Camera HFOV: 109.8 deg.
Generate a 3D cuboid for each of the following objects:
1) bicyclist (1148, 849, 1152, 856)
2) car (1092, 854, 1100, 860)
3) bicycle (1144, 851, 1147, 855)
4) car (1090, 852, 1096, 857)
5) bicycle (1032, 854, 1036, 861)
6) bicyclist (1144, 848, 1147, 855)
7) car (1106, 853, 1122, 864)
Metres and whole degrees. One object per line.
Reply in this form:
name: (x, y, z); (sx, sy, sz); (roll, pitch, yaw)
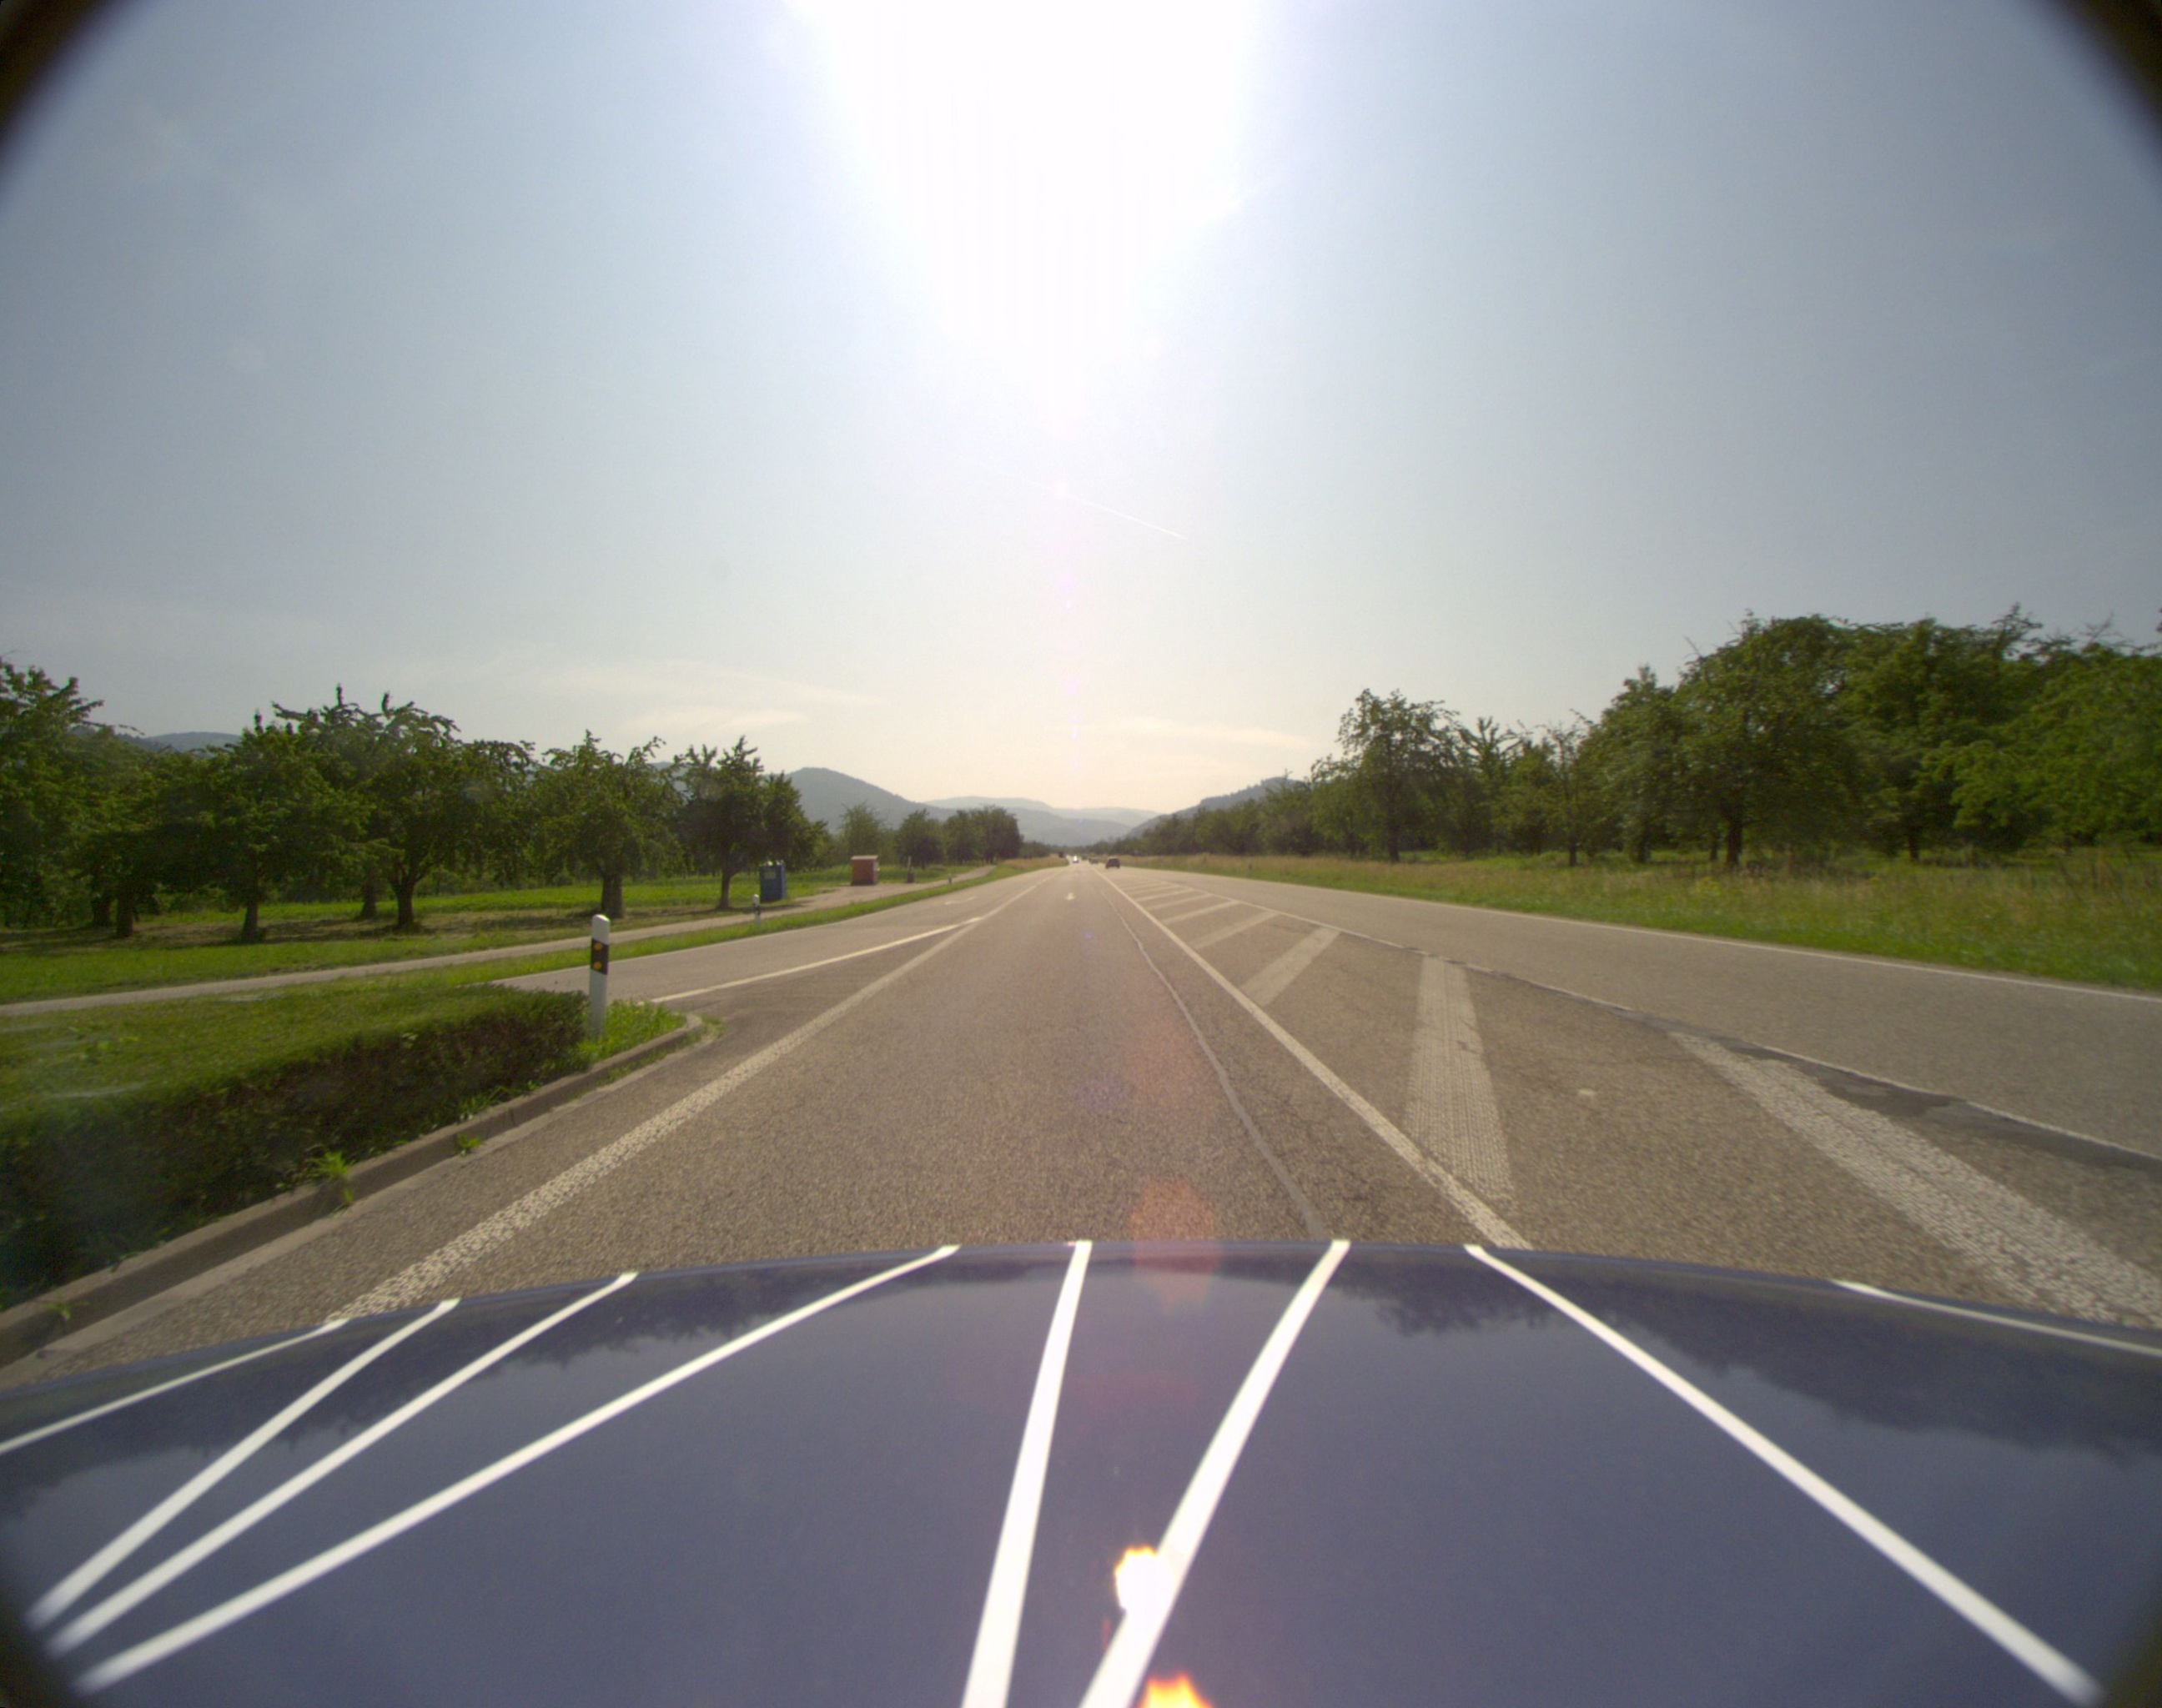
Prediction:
bicyclist: (14.755, -0.286, 162.384); (0.742, 1.446, 0.863); (-2, 2, 1)
car: (3.507, 0.672, 182.244); (1.679, 1.485, 4.136); (-2, 0, -1)
bicycle: (14.864, -0.208, 174.763); (0.650, 0.984, 1.955); (-2, 1, 1)
car: (3.808, 0.205, 239.751); (1.629, 1.448, 3.621); (-2, 0, -1)
bicycle: (-9.791, 0.655, 159.682); (0.751, 1.410, 2.221); (-1, 0, -1)
bicyclist: (14.843, -0.582, 174.746); (0.643, 1.406, 0.863); (-2, 2, 1)
car: (4.358, 0.626, 100.838); (1.702, 1.408, 3.824); (-2, 0, -2)
